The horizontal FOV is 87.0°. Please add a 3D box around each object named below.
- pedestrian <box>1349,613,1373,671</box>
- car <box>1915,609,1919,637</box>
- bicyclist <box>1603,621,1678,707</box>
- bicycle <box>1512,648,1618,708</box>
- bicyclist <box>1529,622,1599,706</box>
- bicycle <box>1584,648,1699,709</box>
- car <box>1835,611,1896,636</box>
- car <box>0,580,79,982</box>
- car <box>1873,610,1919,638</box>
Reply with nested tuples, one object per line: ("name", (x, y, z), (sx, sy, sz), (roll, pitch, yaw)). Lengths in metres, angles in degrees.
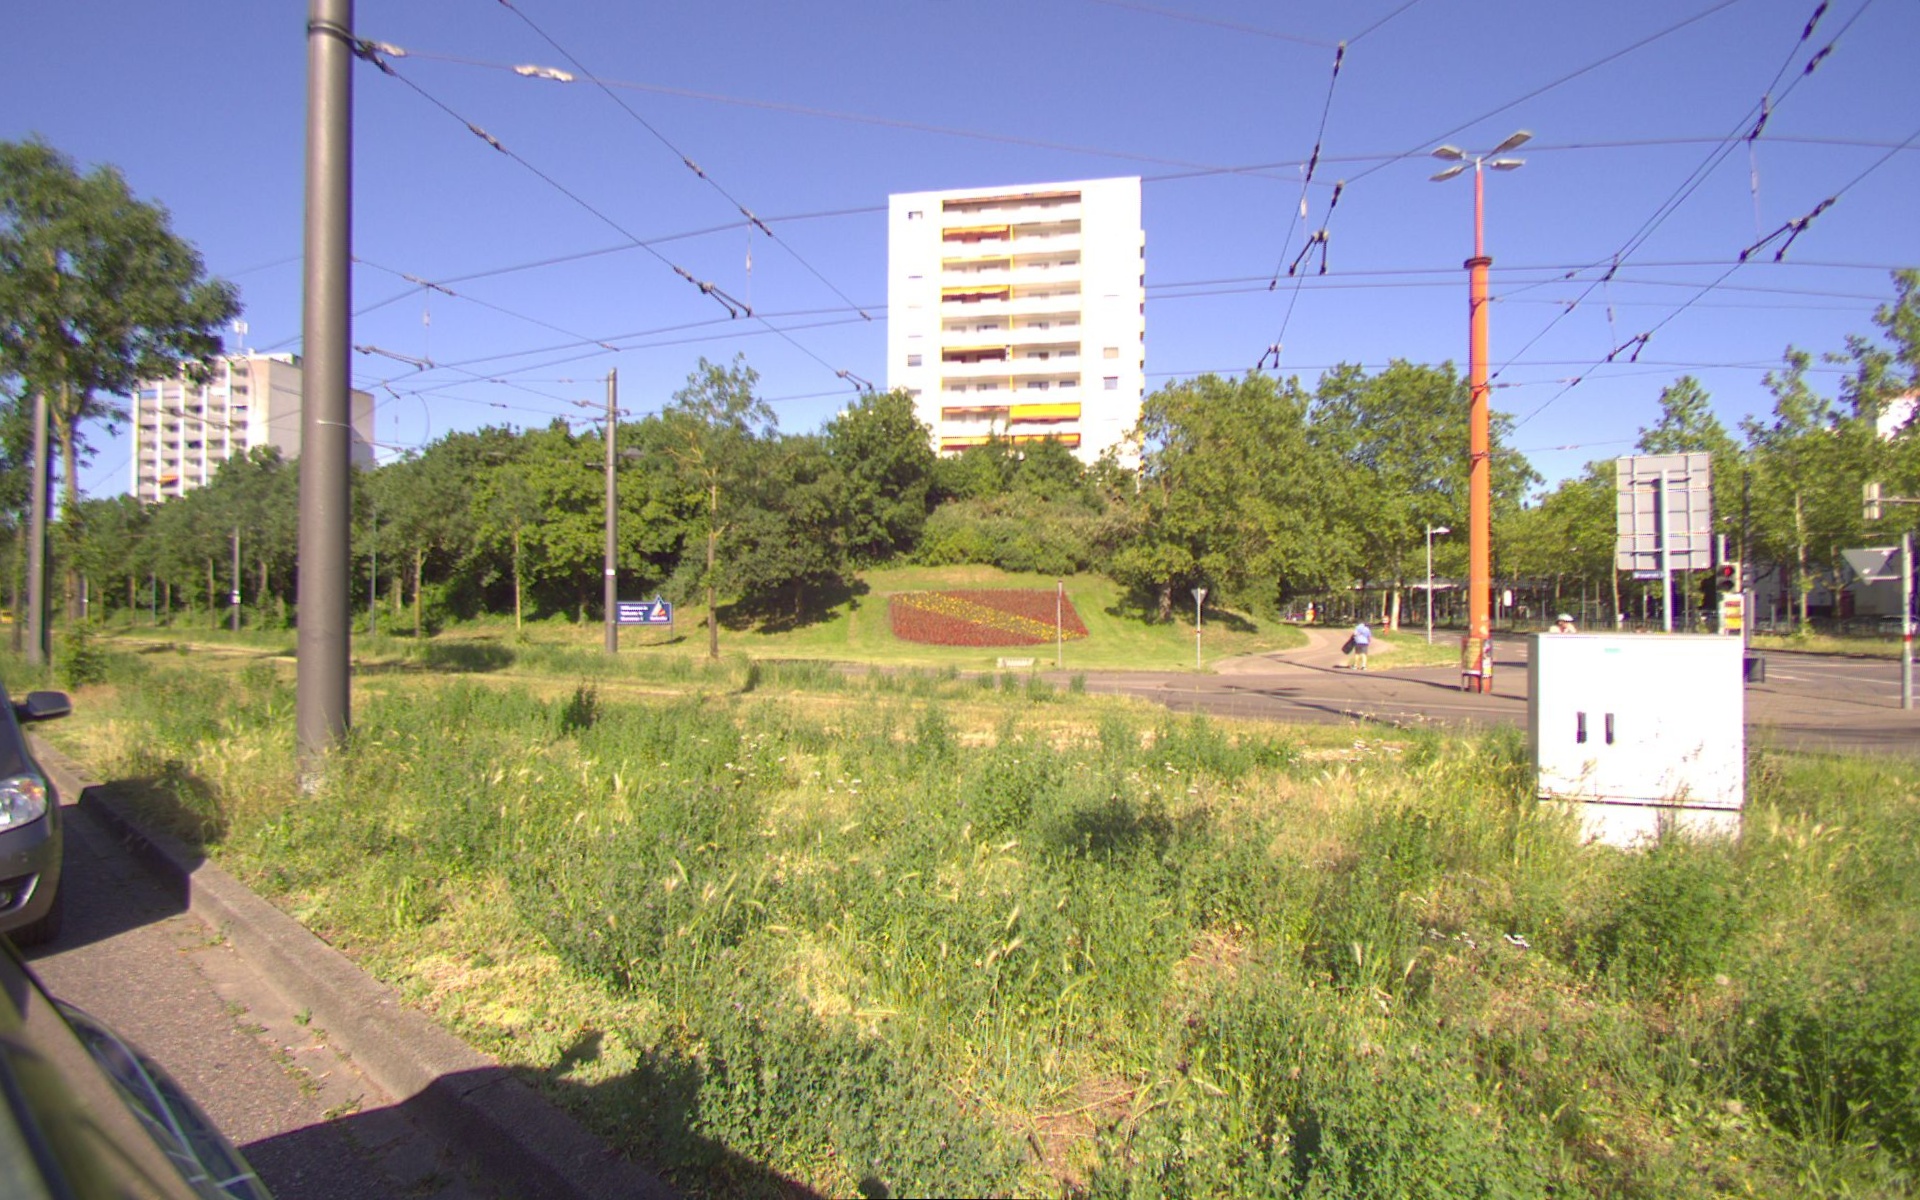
("pedestrian", (13.847, 1.445, 34.971), (0.729, 1.949, 0.726), (-1, -2, 24))
("car", (64.406, 1.506, 65.902), (3.931, 1.829, 2.006), (1, -2, -27))
("bicyclist", (13.356, 1.240, 19.880), (0.920, 1.650, 0.741), (0, -1, -1))
("bicycle", (12.094, 1.535, 20.315), (0.915, 1.095, 1.888), (0, -1, -2))
("bicyclist", (12.098, 1.258, 20.298), (0.920, 1.650, 0.741), (0, -1, -1))
("bicycle", (13.359, 1.520, 19.913), (0.915, 1.095, 1.888), (0, -1, -2))
("car", (66.016, 1.700, 73.761), (3.931, 1.829, 2.006), (1, -2, -27))
("car", (-5.938, 0.753, 5.040), (4.382, 1.619, 1.754), (-1, -2, 41))
("car", (65.249, 1.644, 69.865), (3.931, 1.829, 2.006), (1, -2, -27))
